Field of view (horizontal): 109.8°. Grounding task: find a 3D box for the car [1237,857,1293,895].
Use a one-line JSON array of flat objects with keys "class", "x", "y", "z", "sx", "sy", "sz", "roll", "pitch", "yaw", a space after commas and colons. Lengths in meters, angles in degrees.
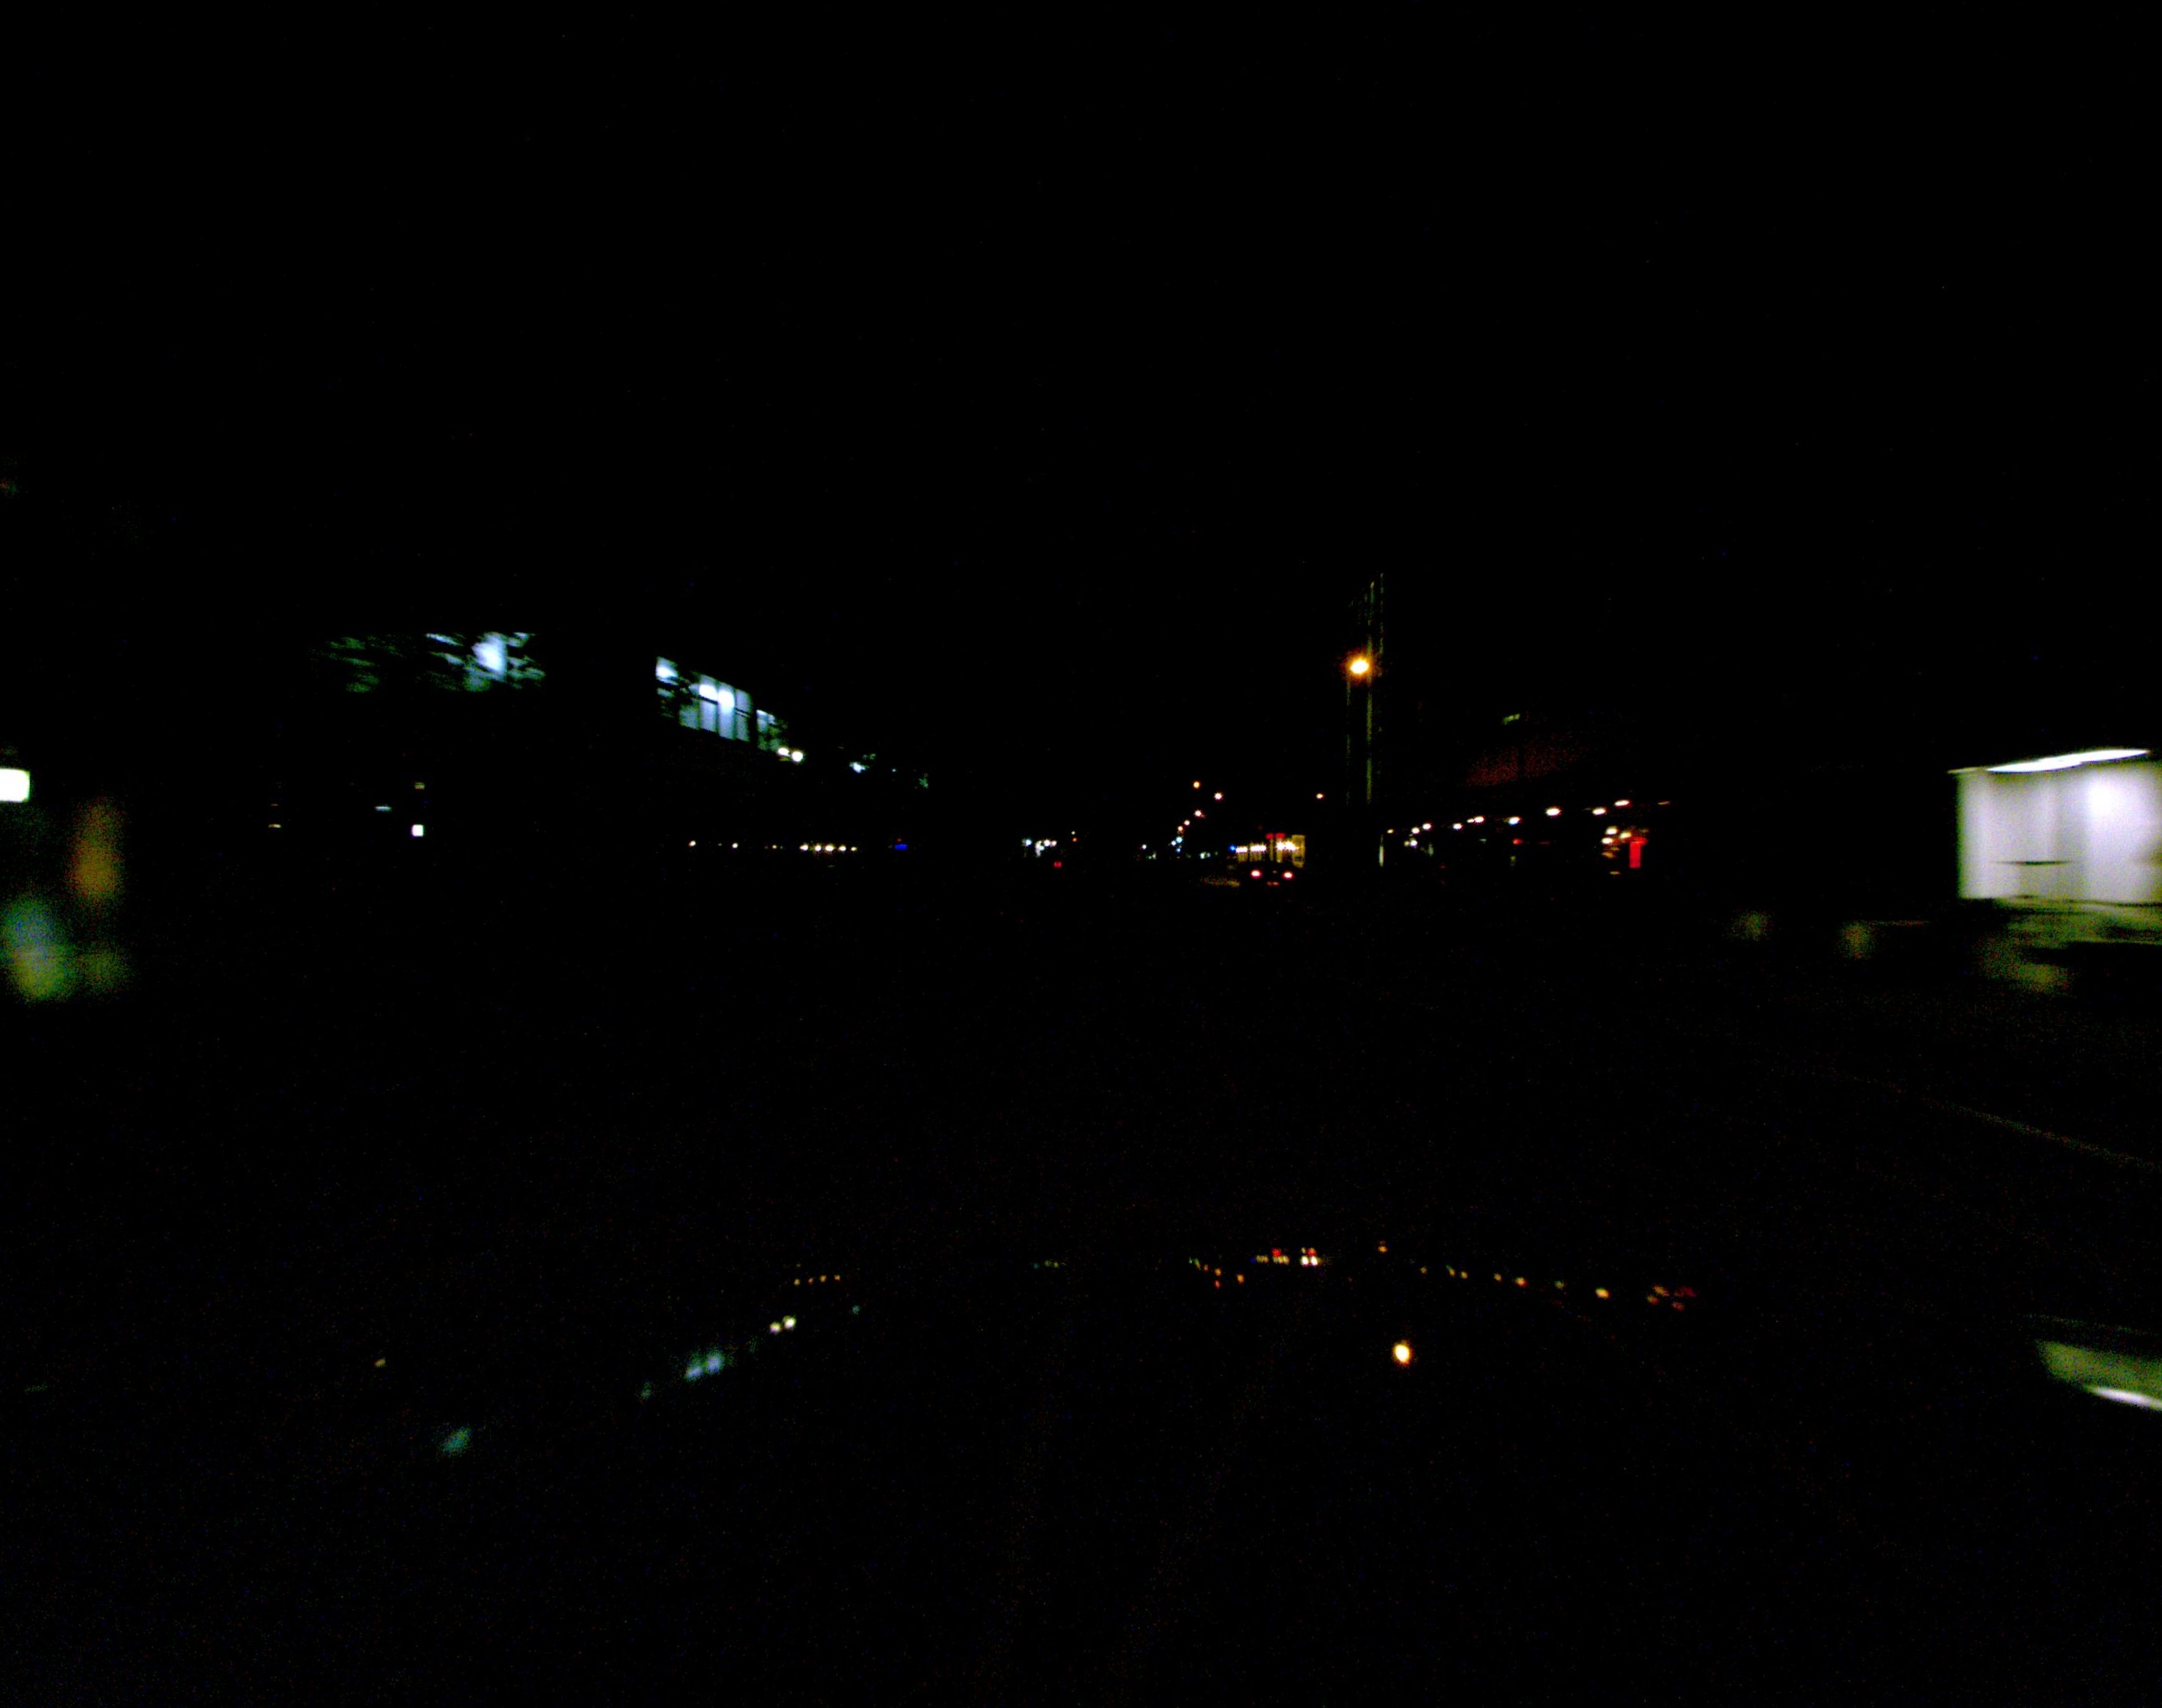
[{"class": "car", "x": 7.882, "y": 0.900, "z": 32.783, "sx": 1.670, "sy": 1.420, "sz": 4.001, "roll": 2, "pitch": 1, "yaw": 4}]
